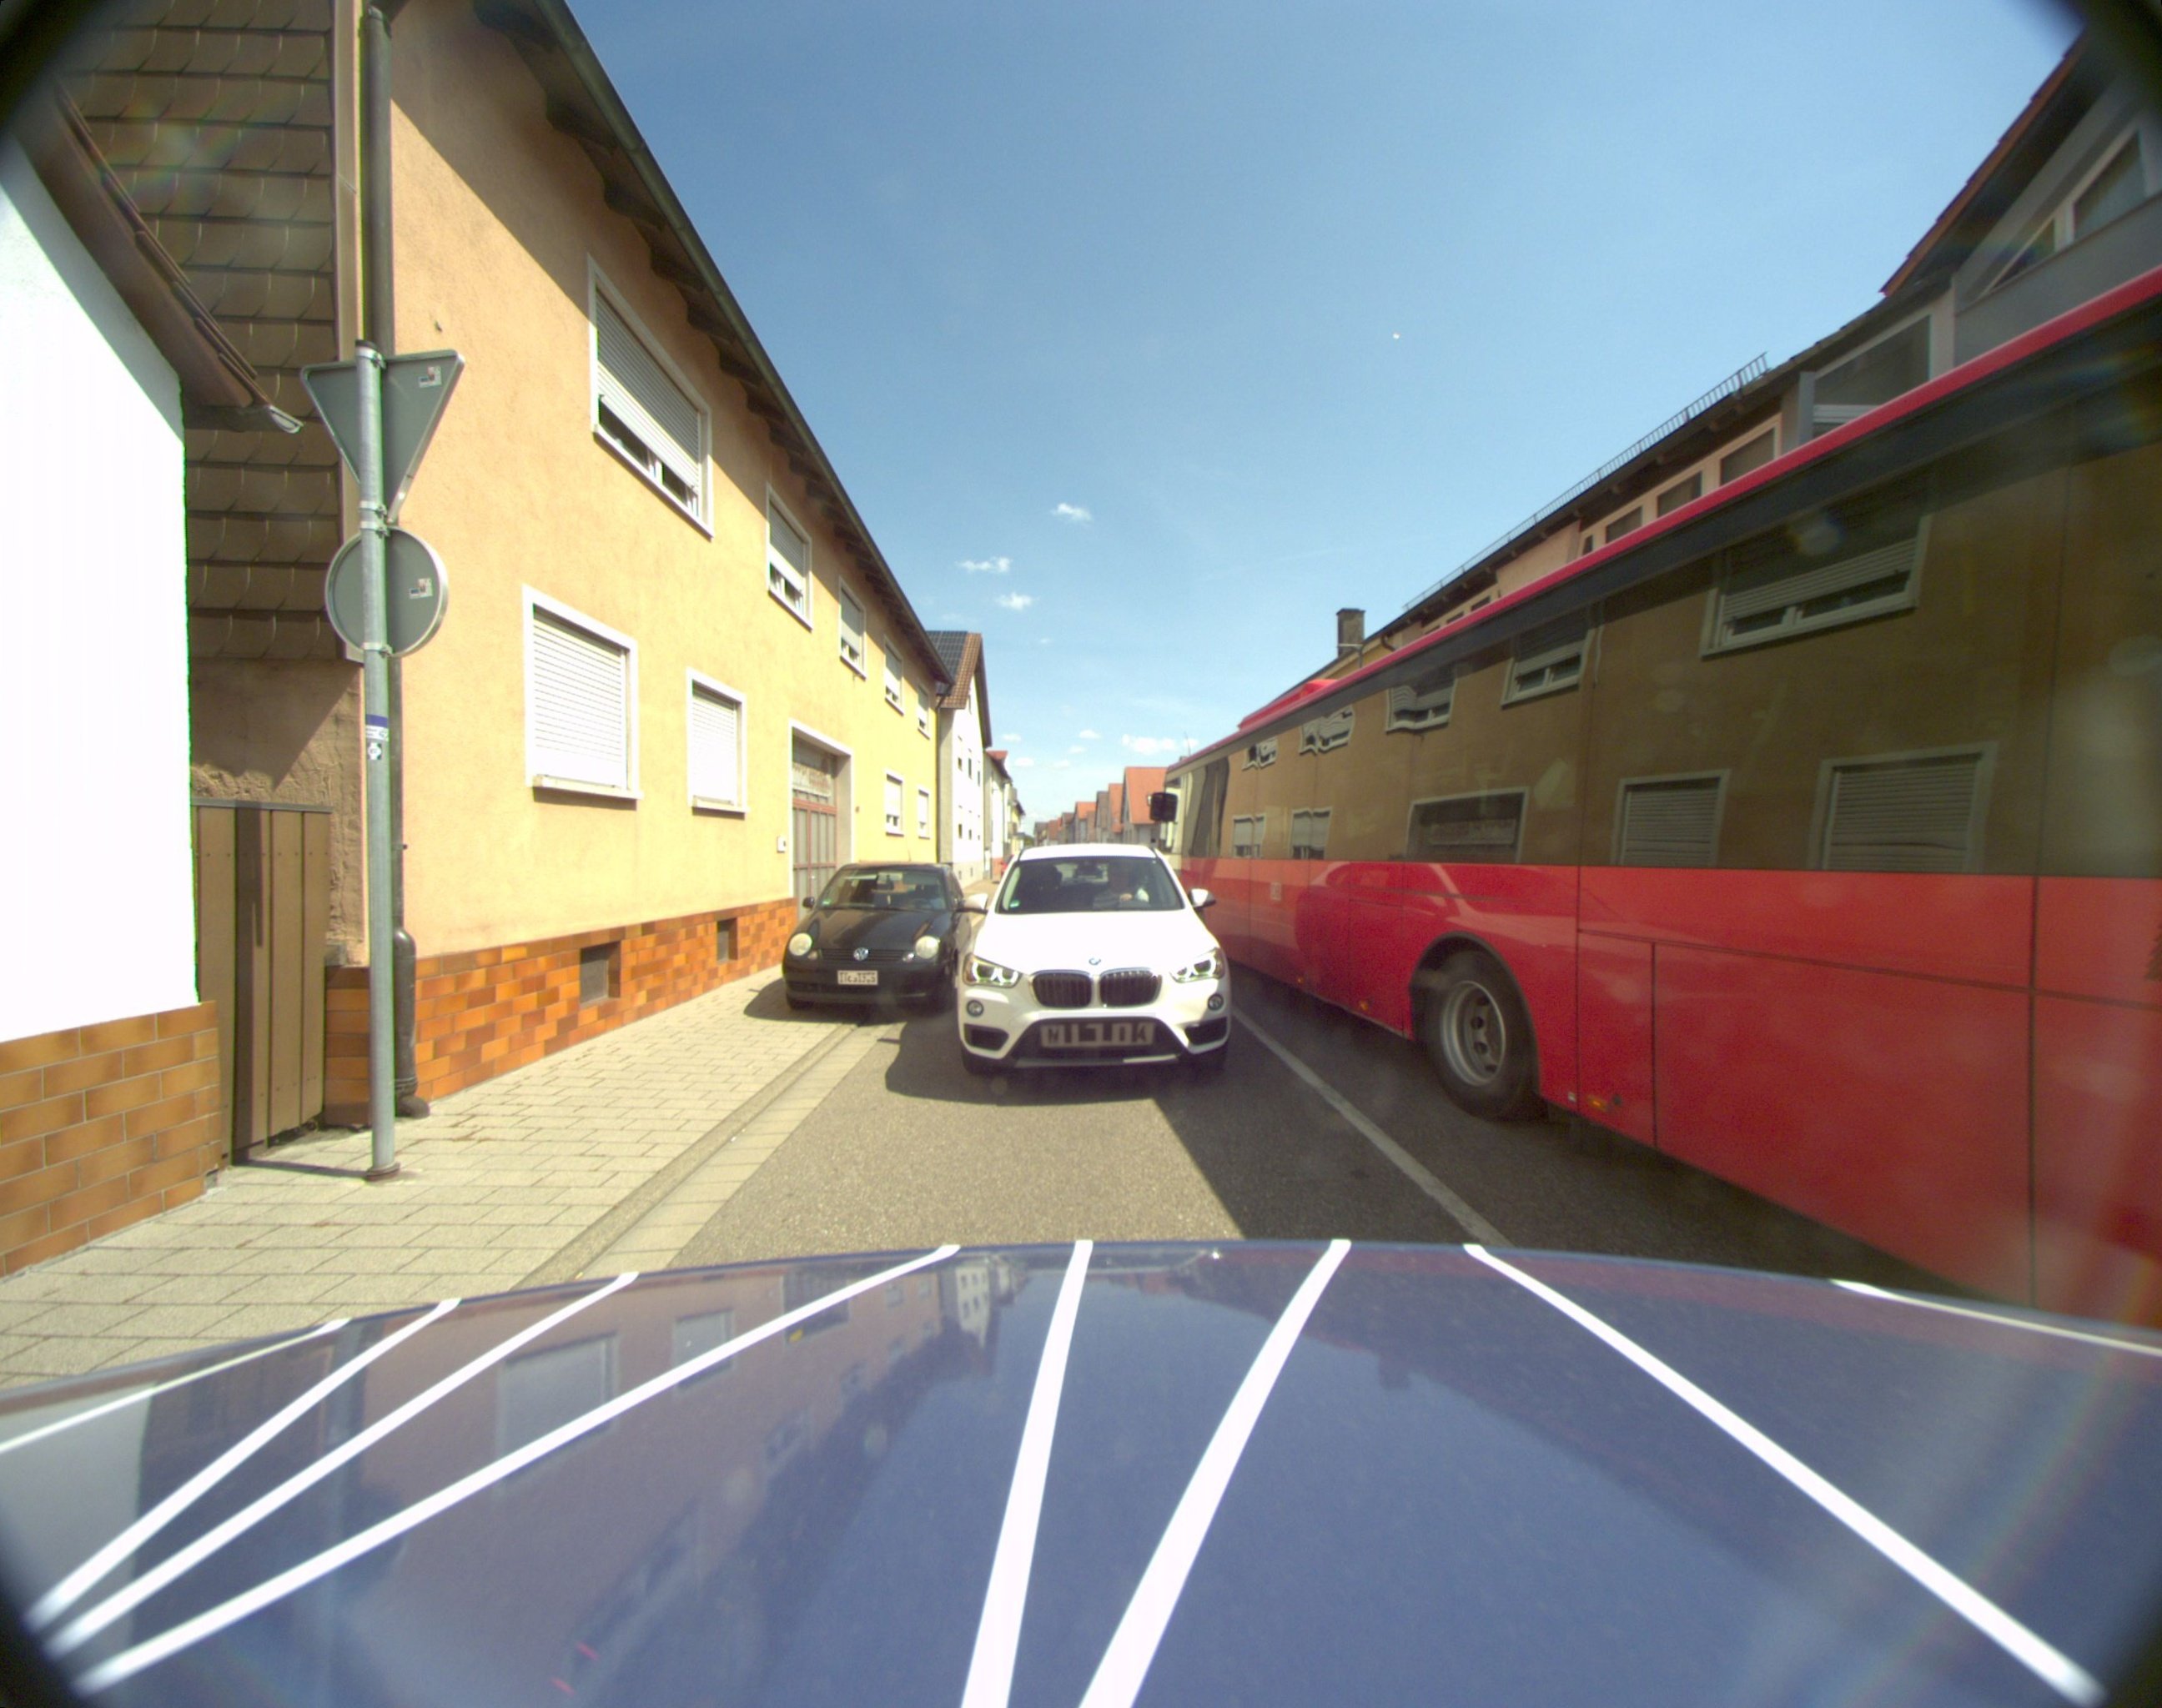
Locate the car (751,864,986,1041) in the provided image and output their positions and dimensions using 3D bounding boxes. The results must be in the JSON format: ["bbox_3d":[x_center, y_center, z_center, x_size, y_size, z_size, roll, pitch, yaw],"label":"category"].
[{"bbox_3d":[-2.078,0.890,8.447,1.690,1.454,3.628,2,0,-3],"label":"car"}]

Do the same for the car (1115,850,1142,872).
[{"bbox_3d":[3.243,0.446,52.039,1.442,1.362,3.383,-3,1,-2],"label":"car"}]

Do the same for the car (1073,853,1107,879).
[{"bbox_3d":[0.476,0.659,44.145,1.765,1.389,3.869,1,0,-2],"label":"car"}]

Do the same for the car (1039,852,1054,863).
[{"bbox_3d":[-4.366,0.445,96.389,1.765,1.420,4.187,0,0,-5],"label":"car"}]

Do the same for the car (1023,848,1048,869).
[{"bbox_3d":[-3.226,0.286,54.473,1.765,1.420,4.188,0,0,-3],"label":"car"}]

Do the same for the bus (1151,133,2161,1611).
[{"bbox_3d":[3.138,-0.002,7.033,2.635,3.213,12.015,2,0,-6],"label":"bus"}]

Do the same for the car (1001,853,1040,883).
[{"bbox_3d":[-2.916,0.645,37.334,1.765,1.420,4.188,0,0,-3],"label":"car"}]

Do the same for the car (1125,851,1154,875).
[{"bbox_3d":[3.652,0.524,47.664,1.458,1.362,3.383,-3,1,-1],"label":"car"}]

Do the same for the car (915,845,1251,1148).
[{"bbox_3d":[-0.043,0.797,6.483,1.845,1.636,4.373,-2,0,-2],"label":"car"}]
